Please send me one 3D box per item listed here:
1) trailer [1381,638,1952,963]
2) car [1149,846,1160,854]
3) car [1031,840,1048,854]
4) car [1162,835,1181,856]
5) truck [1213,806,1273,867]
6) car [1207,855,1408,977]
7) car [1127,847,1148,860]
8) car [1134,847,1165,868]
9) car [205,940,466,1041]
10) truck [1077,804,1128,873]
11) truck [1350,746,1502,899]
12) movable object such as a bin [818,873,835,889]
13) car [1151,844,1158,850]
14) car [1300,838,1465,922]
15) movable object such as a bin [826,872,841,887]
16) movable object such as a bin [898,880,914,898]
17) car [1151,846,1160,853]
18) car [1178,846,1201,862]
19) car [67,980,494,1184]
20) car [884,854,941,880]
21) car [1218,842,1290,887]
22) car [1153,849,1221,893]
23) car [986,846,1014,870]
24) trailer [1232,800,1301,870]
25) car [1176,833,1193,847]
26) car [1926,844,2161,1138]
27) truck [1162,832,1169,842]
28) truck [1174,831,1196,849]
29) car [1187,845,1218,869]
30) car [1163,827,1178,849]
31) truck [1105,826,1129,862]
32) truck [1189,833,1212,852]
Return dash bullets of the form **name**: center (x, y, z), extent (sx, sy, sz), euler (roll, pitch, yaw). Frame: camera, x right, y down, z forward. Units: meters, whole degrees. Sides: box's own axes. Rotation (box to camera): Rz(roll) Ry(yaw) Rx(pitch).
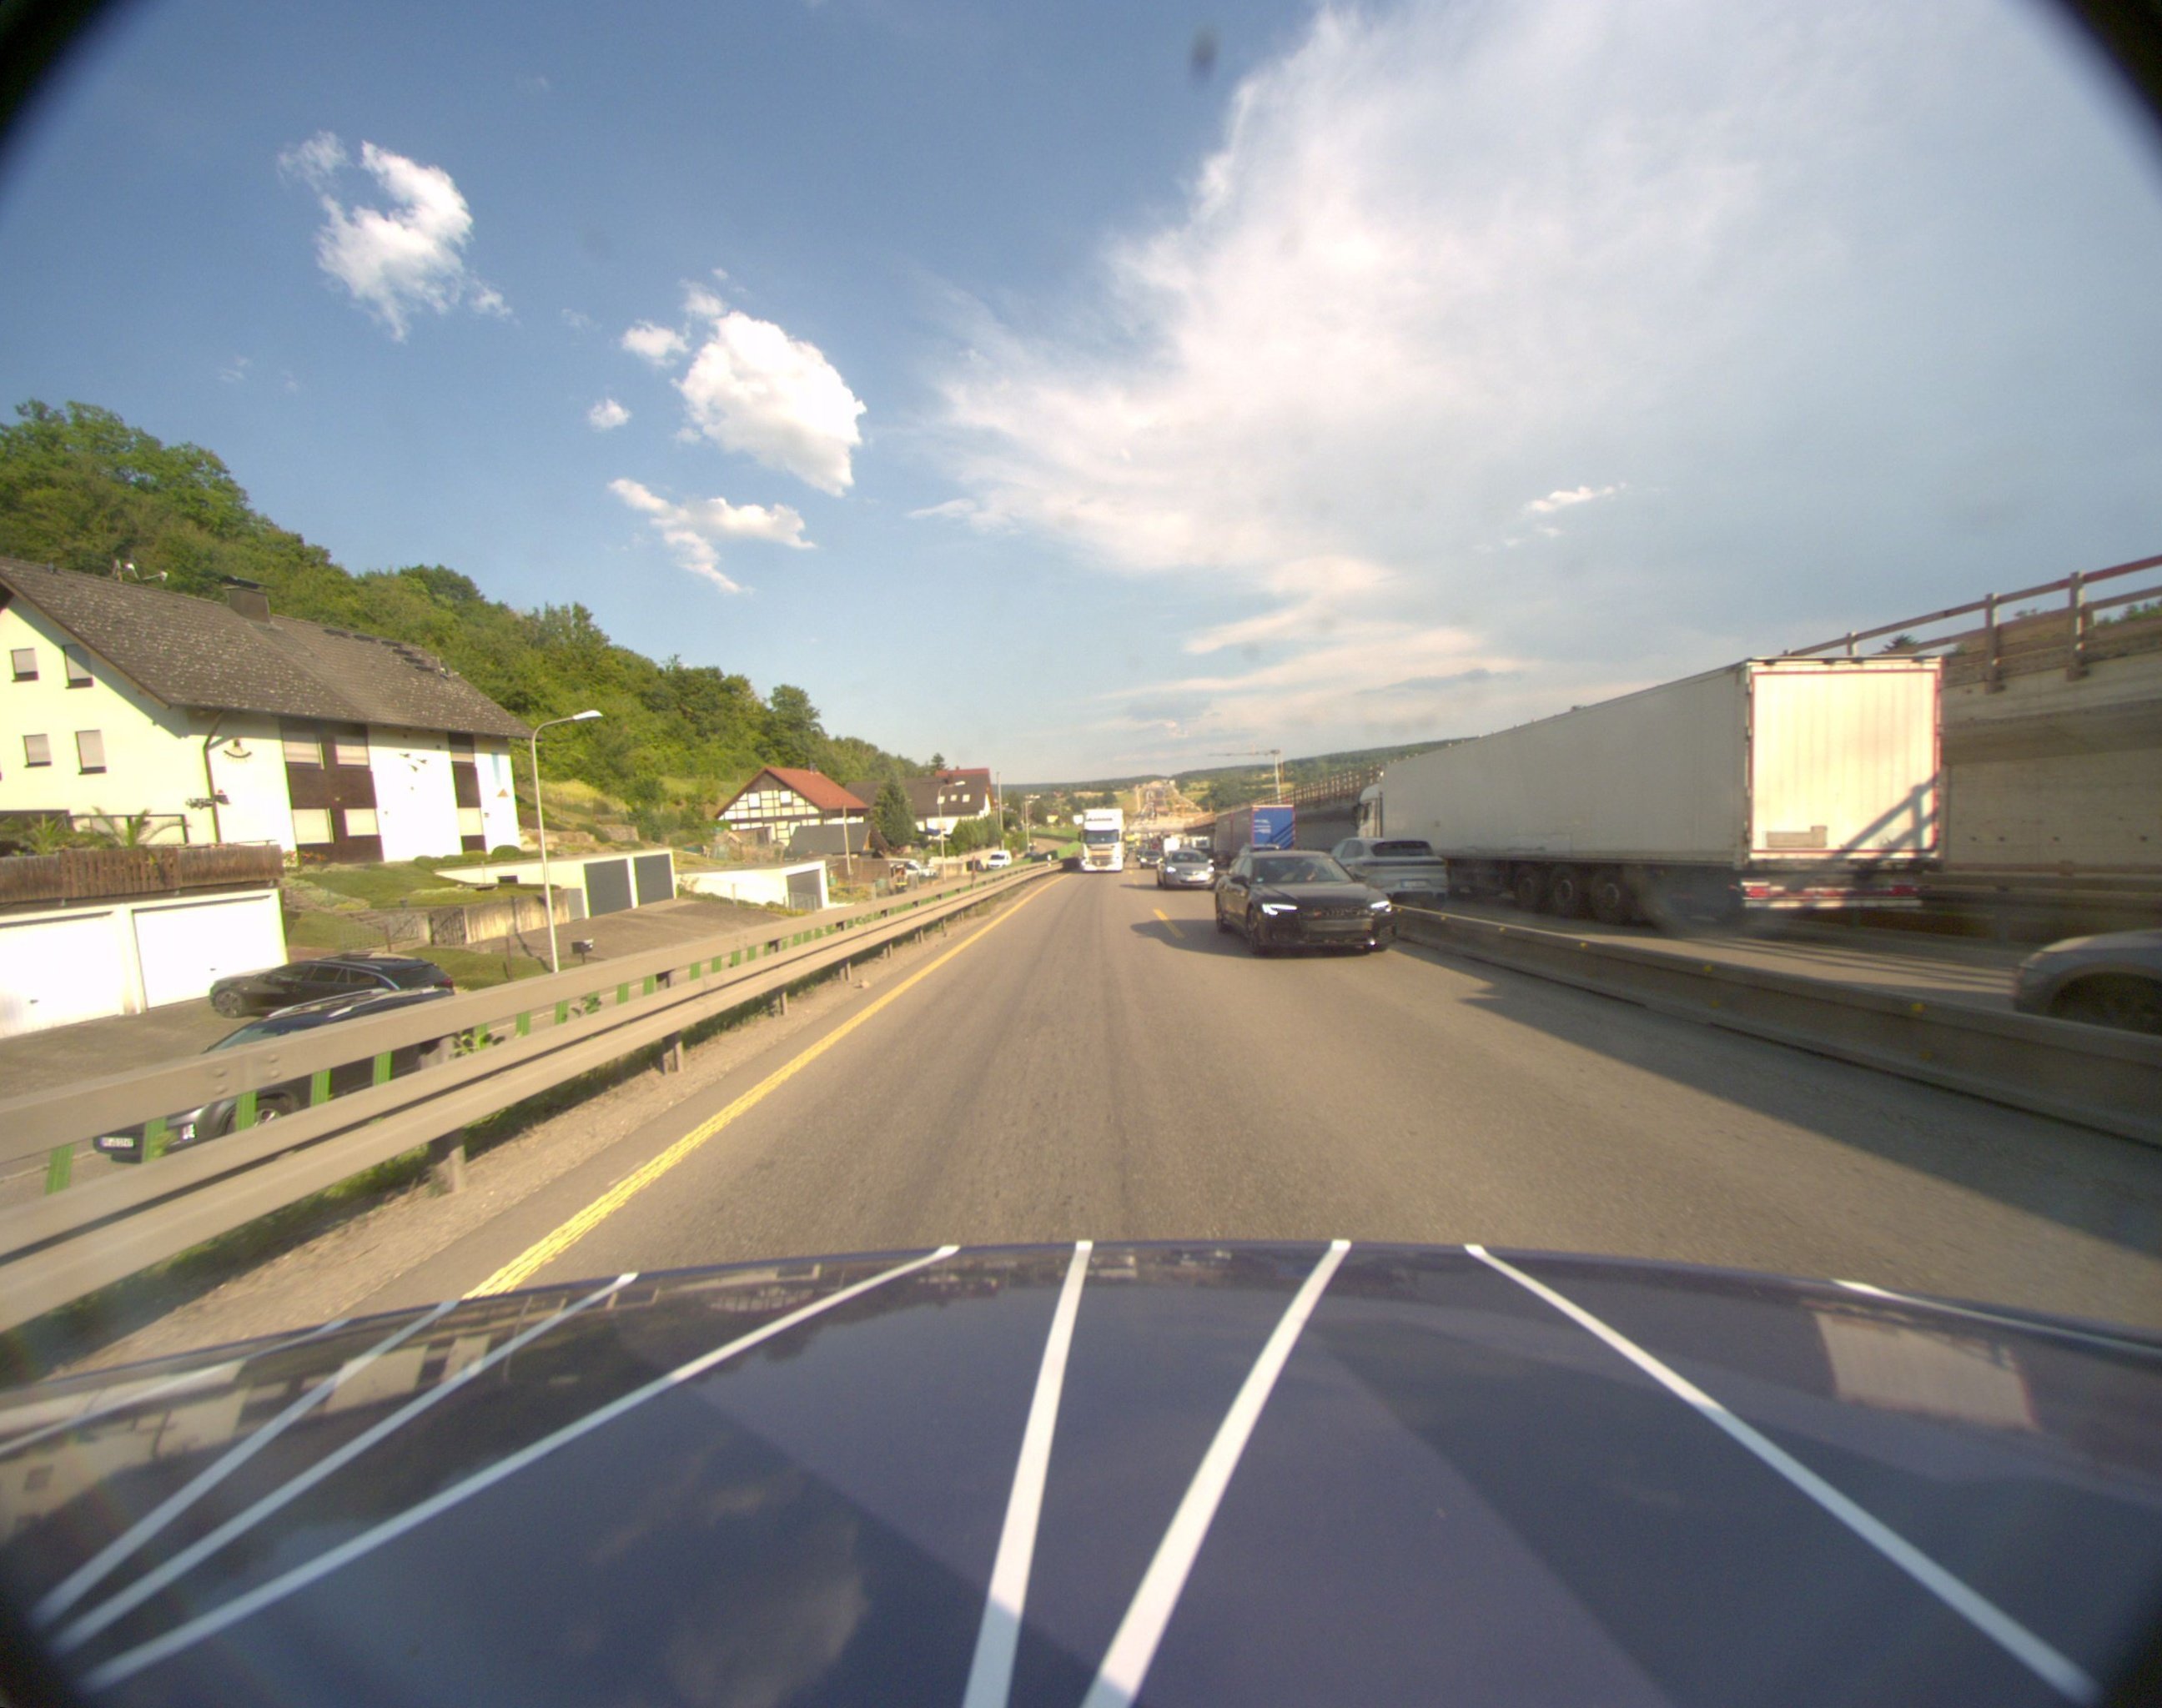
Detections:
- **trailer**: center (10.499, -0.803, 17.008), extent (2.462, 4.295, 13.774), euler (-1, 1, 2)
- **car**: center (13.208, -0.681, 136.781), extent (1.712, 1.312, 3.665), euler (-4, 1, 4)
- **car**: center (-6.095, -1.069, 111.631), extent (1.998, 2.002, 4.000), euler (-1, 1, 3)
- **car**: center (11.545, -1.026, 97.086), extent (2.000, 2.601, 5.614), euler (0, 1, 3)
- **truck**: center (12.284, -1.333, 58.633), extent (2.822, 4.234, 10.581), euler (-1, 1, 3)
- **car**: center (3.282, 0.790, 12.206), extent (1.945, 1.472, 5.222), euler (0, 1, 3)
- **car**: center (6.923, -0.118, 93.816), extent (1.999, 1.565, 3.997), euler (-1, 1, -5)
- **car**: center (5.069, 0.277, 56.792), extent (1.823, 1.433, 3.999), euler (-2, 0, -1)
- **car**: center (-17.530, 3.146, 17.989), extent (4.502, 1.517, 2.000), euler (5, 4, 7)
- **truck**: center (1.700, -1.031, 52.313), extent (2.891, 4.059, 13.895), euler (-1, 1, 4)
- **truck**: center (10.721, -0.917, 24.221), extent (2.461, 4.291, 5.473), euler (-1, 1, 2)
- **movable object such as a bin**: center (-15.552, 1.656, 46.478), extent (0.791, 0.896, 0.680), euler (-1, 1, 2)
- **car**: center (18.876, -1.796, 194.692), extent (1.712, 1.312, 3.665), euler (-4, 1, 4)
- **car**: center (6.999, 0.486, 18.322), extent (2.013, 1.645, 4.973), euler (-3, 1, 1)
- **movable object such as a bin**: center (-15.514, 1.597, 47.566), extent (0.688, 0.896, 0.680), euler (-1, 1, 2)
- **movable object such as a bin**: center (-10.457, 2.099, 45.511), extent (0.723, 0.995, 0.677), euler (-3, 2, 3)
- **car**: center (15.485, -0.901, 158.774), extent (1.712, 1.312, 3.665), euler (-4, 1, 4)
- **car**: center (10.586, -0.062, 74.268), extent (1.746, 1.432, 4.592), euler (-3, 0, 3)
- **car**: center (-12.499, 3.423, 12.448), extent (1.866, 1.775, 4.498), euler (-1, 3, 7)
- **car**: center (-12.982, 0.994, 58.733), extent (3.995, 1.829, 1.750), euler (1, 3, 4)
- **car**: center (7.083, 0.374, 31.622), extent (1.885, 1.597, 4.730), euler (-3, 1, 1)
- **car**: center (3.823, 0.552, 28.008), extent (1.810, 1.478, 4.117), euler (0, 1, -1)
- **car**: center (-7.309, 0.354, 68.994), extent (1.824, 1.931, 4.283), euler (-3, 2, 2)
- **trailer**: center (11.823, -1.190, 49.207), extent (2.822, 4.082, 8.287), euler (-1, 1, 3)
- **car**: center (16.409, -2.177, 120.540), extent (2.214, 2.011, 3.973), euler (-4, 1, 4)
- **car**: center (6.482, 0.752, 2.619), extent (1.779, 1.448, 4.813), euler (-3, 2, 0)
- **truck**: center (27.170, -5.363, 243.695), extent (1.998, 3.154, 5.764), euler (-1, 1, 3)
- **truck**: center (18.448, -2.444, 134.945), extent (3.242, 3.127, 6.489), euler (-1, 1, 2)
- **car**: center (8.610, 0.176, 54.082), extent (1.703, 1.567, 4.370), euler (-1, 1, 3)
- **car**: center (22.821, -3.991, 194.978), extent (3.326, 5.356, 14.301), euler (-1, 1, 5)
- **truck**: center (4.654, -1.240, 99.670), extent (2.788, 4.504, 7.190), euler (-3, 0, 1)
- **truck**: center (15.586, -1.520, 99.272), extent (2.279, 2.288, 6.064), euler (-4, 1, 4)
